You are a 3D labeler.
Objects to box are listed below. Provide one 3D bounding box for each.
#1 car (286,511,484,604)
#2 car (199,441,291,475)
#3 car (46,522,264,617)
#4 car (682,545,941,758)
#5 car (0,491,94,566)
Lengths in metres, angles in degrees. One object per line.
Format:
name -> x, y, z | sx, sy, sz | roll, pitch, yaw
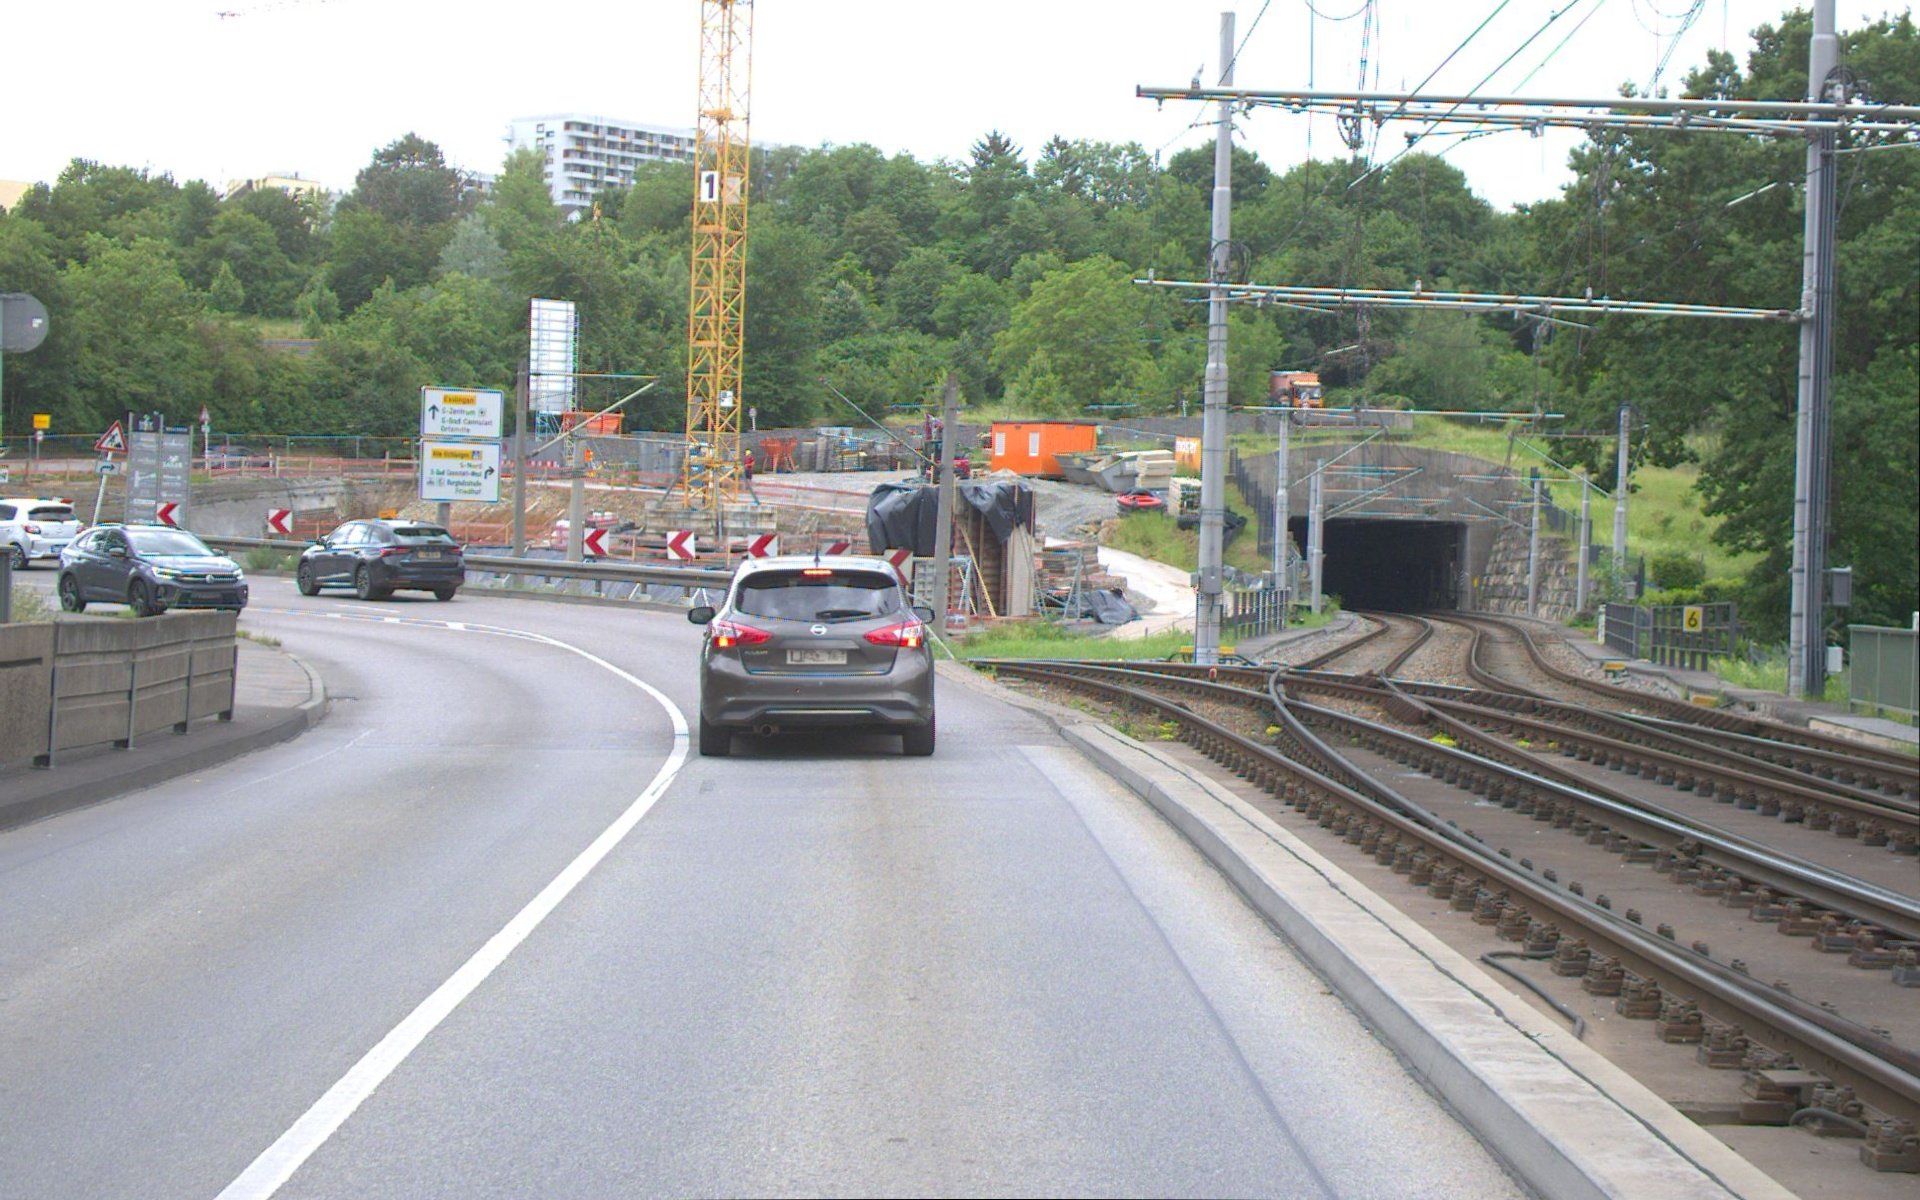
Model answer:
car -> -10.709, -0.809, 63.810 | 1.680, 1.601, 4.308 | 0, 2, -39
car -> -34.002, -6.770, 163.499 | 3.993, 1.405, 1.797 | 3, 1, 26
car -> -13.167, -0.522, 56.125 | 1.830, 1.504, 3.998 | -1, 1, -41
car -> -1.091, 0.342, 26.958 | 1.830, 1.504, 4.000 | 1, 1, 0
car -> -20.886, -1.587, 75.166 | 4.306, 1.601, 1.681 | 2, 2, 42
